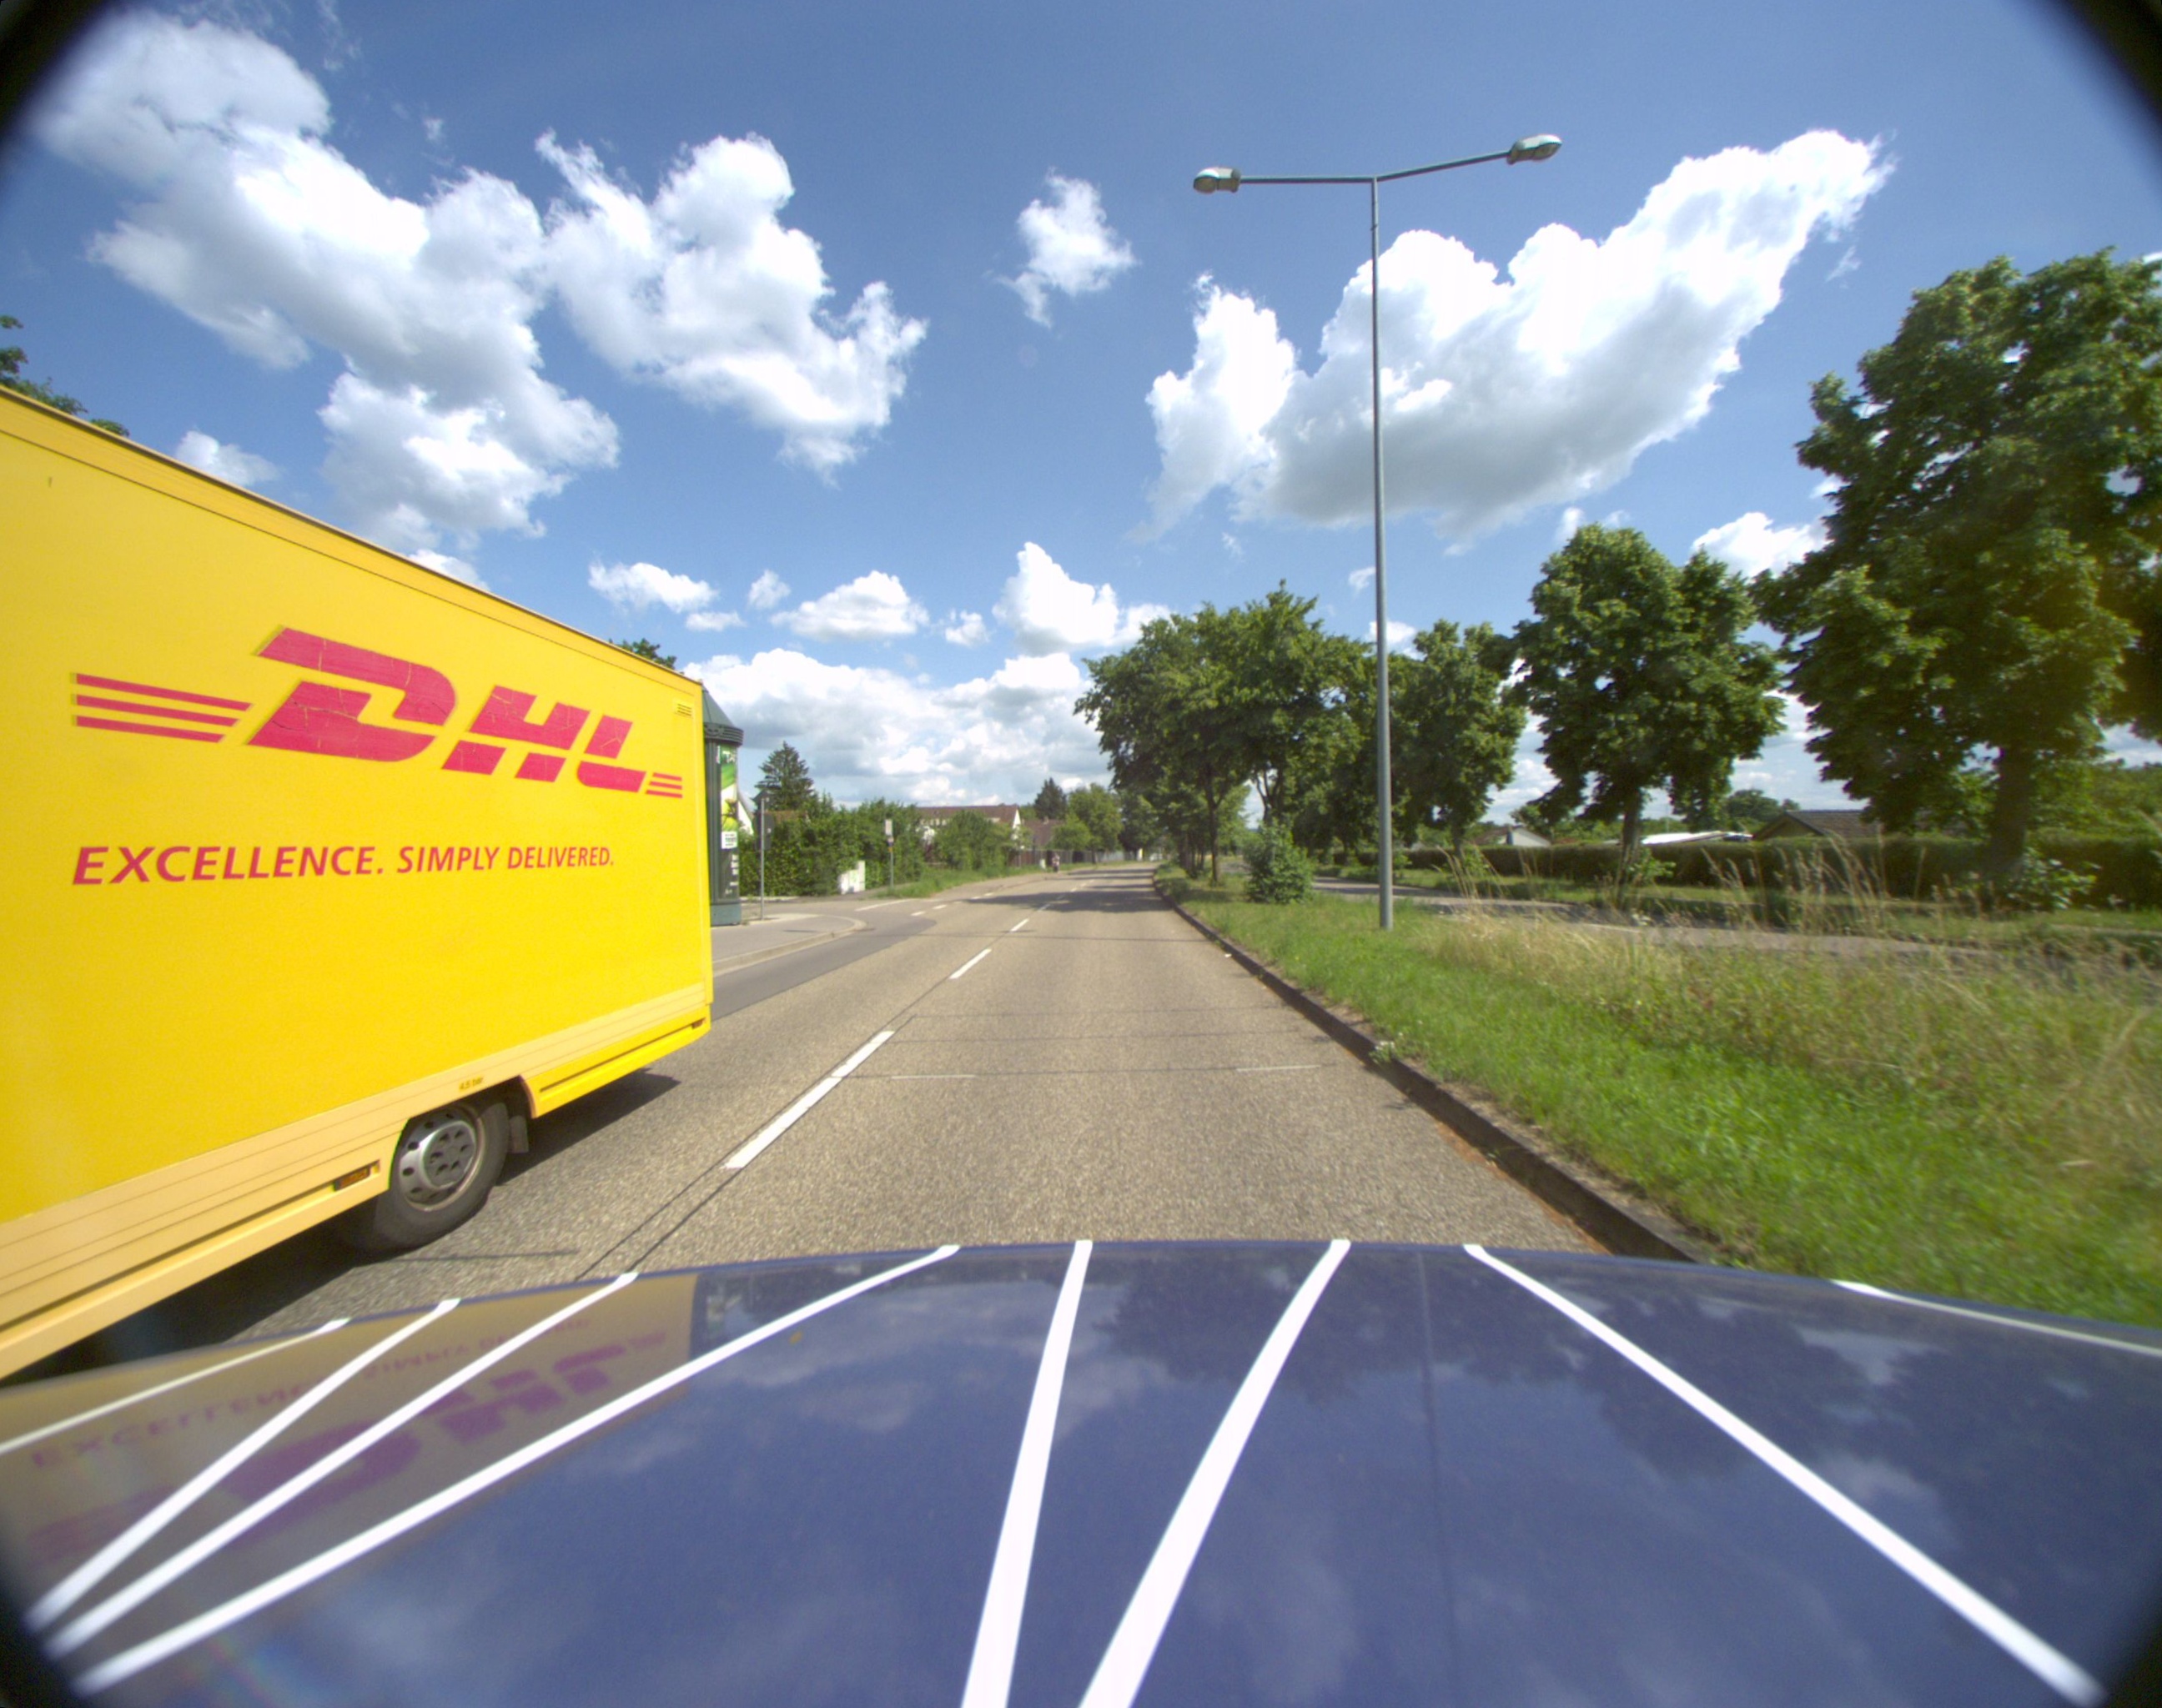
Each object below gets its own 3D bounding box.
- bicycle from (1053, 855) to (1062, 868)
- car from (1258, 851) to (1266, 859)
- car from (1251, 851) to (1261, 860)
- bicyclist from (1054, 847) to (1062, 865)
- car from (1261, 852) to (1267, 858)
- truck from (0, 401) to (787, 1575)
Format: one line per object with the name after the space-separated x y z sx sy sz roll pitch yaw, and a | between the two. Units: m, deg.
-2.157 0.658 69.995 0.626 1.146 1.740 -1 0 6 | bicycle
40.253 0.232 168.876 1.739 1.577 4.117 1 0 15 | car
31.284 0.176 135.780 1.739 1.577 4.116 1 0 13 | car
-2.154 0.191 70.084 0.620 1.625 0.700 -1 1 6 | bicyclist
51.848 0.232 215.258 1.739 1.577 4.117 1 0 15 | car
-3.770 0.341 2.481 2.270 2.864 8.027 -2 0 1 | truck
